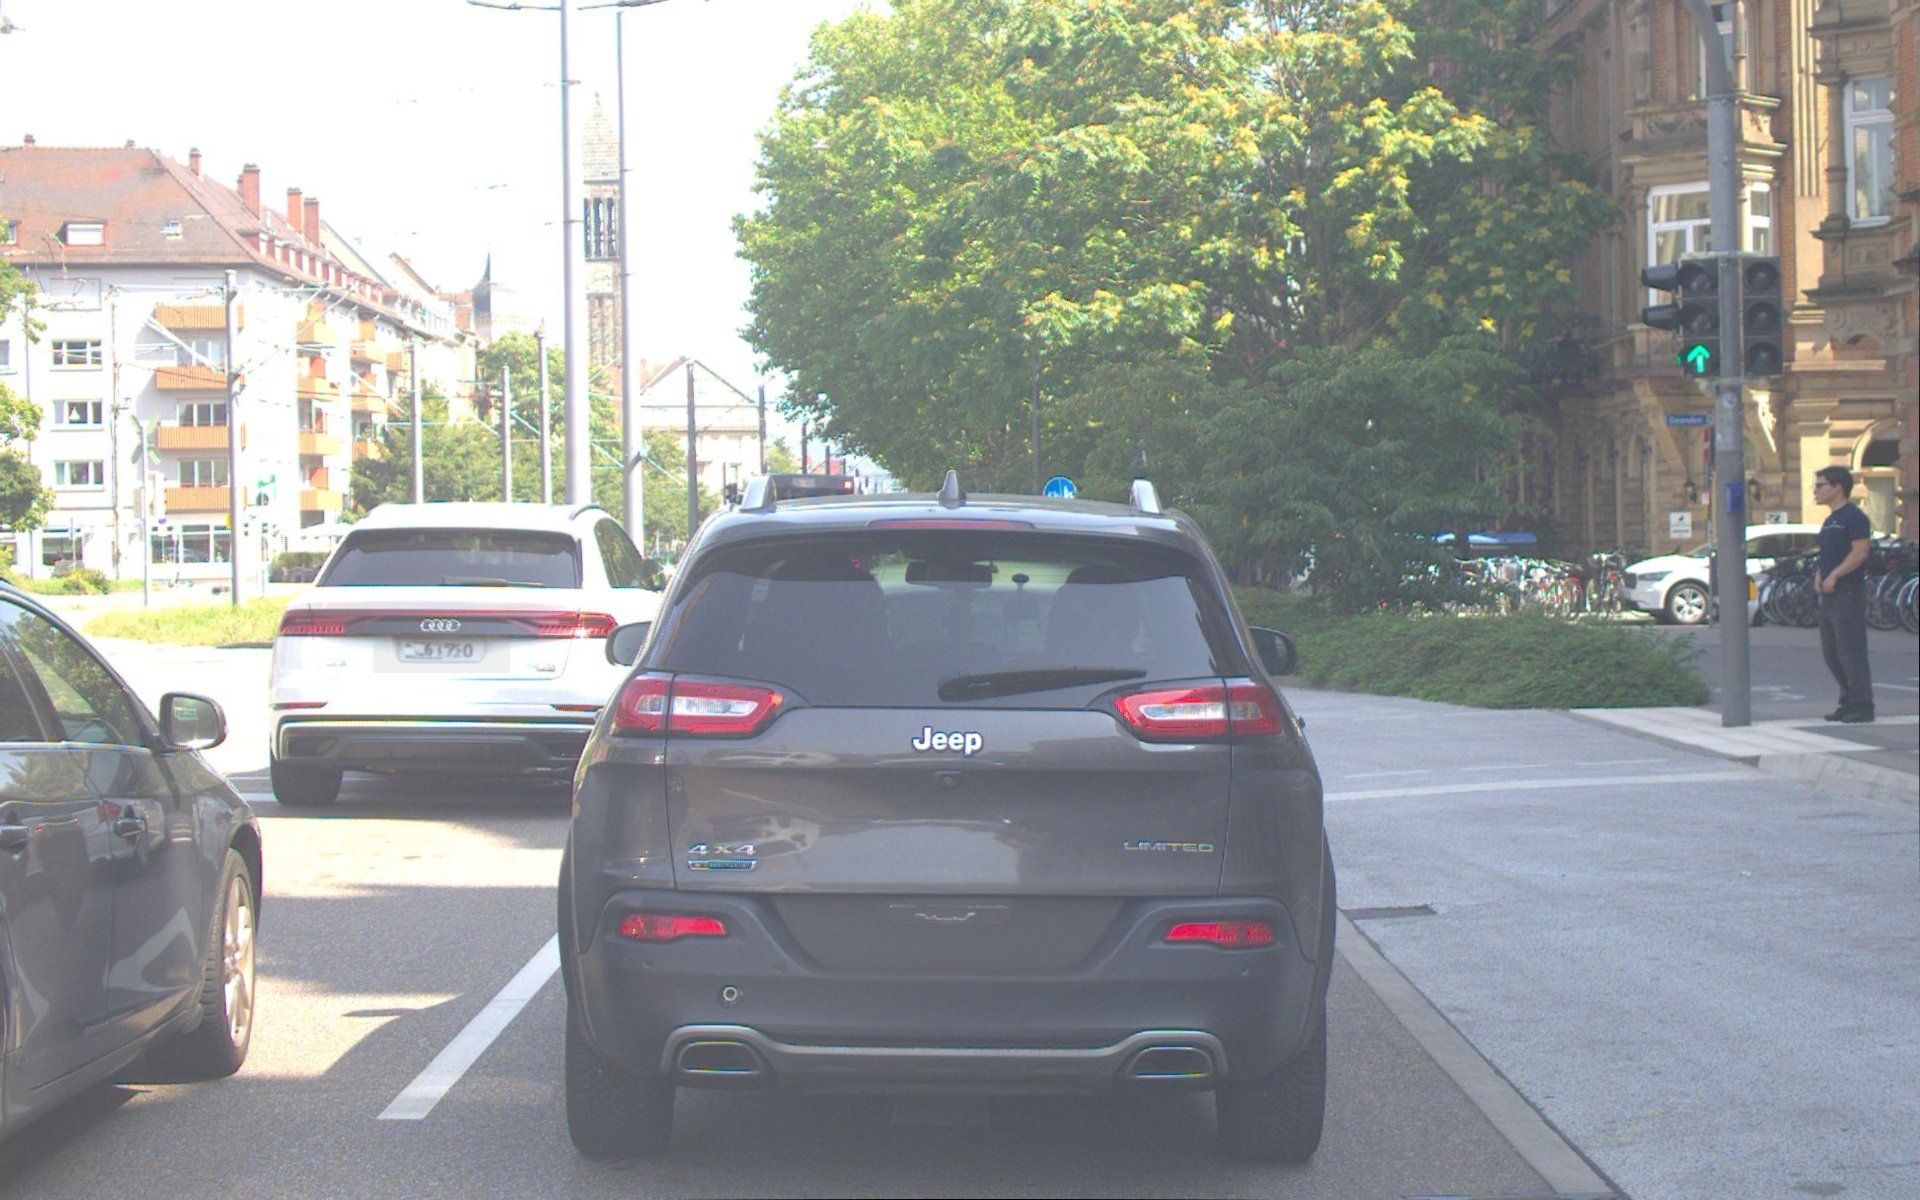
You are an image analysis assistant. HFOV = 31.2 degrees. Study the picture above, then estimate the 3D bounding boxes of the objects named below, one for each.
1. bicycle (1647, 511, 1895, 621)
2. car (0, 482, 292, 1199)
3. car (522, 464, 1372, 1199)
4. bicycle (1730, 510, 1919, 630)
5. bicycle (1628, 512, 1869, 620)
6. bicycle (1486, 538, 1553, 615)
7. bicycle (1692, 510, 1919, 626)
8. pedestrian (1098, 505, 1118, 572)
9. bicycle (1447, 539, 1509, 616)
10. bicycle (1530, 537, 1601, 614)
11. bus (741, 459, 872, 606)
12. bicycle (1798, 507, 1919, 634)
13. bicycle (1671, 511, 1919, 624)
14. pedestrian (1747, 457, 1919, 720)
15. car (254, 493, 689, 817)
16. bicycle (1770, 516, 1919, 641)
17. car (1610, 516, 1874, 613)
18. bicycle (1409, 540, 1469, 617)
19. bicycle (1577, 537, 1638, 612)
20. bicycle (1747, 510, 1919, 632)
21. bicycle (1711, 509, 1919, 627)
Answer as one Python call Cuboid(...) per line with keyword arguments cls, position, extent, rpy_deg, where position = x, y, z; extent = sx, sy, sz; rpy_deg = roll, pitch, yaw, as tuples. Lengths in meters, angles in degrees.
Cuboid(cls="bicycle", position=(10.627, -0.456, 45.138), extent=(3.003, 1.368, 0.947), rpy_deg=(-1, 1, -1))
Cuboid(cls="car", position=(-2.817, 0.542, 7.918), extent=(1.747, 1.609, 4.309), rpy_deg=(0, 1, 0))
Cuboid(cls="car", position=(-0.009, 0.489, 9.611), extent=(1.832, 1.646, 4.308), rpy_deg=(0, 1, 1))
Cuboid(cls="bicycle", position=(10.740, -0.370, 40.772), extent=(2.993, 1.366, 0.871), rpy_deg=(-1, 1, -1))
Cuboid(cls="bicycle", position=(10.576, -0.460, 46.180), extent=(3.003, 1.368, 0.947), rpy_deg=(-1, 1, -1))
Cuboid(cls="bicycle", position=(9.496, -0.414, 58.456), extent=(0.732, 1.249, 3.014), rpy_deg=(-1, 1, 2))
Cuboid(cls="bicycle", position=(10.730, -0.407, 42.811), extent=(3.003, 1.368, 0.947), rpy_deg=(-1, 1, -1))
Cuboid(cls="pedestrian", position=(4.514, -1.876, 104.875), extent=(0.528, 2.007, 0.532), rpy_deg=(-1, 1, -2))
Cuboid(cls="bicycle", position=(8.796, -0.403, 58.458), extent=(0.649, 1.249, 3.014), rpy_deg=(-1, 1, 2))
Cuboid(cls="bicycle", position=(10.285, -0.430, 58.471), extent=(0.763, 1.249, 3.014), rpy_deg=(-1, 1, 2))
Cuboid(cls="bus", position=(-3.450, -1.539, 79.844), extent=(2.743, 3.096, 11.957), rpy_deg=(1, 1, -1))
Cuboid(cls="bicycle", position=(10.880, -0.348, 38.006), extent=(2.993, 1.366, 0.871), rpy_deg=(-1, 1, -1))
Cuboid(cls="bicycle", position=(10.680, -0.424, 43.821), extent=(3.003, 1.368, 0.947), rpy_deg=(-1, 1, -1))
Cuboid(cls="pedestrian", position=(5.993, -0.080, 23.407), extent=(0.766, 1.735, 0.901), rpy_deg=(-3, 1, -33))
Cuboid(cls="car", position=(-2.652, 0.229, 19.617), extent=(1.902, 1.646, 4.309), rpy_deg=(0, 1, 0))
Cuboid(cls="bicycle", position=(10.778, -0.267, 38.913), extent=(2.993, 1.366, 0.871), rpy_deg=(-1, 1, -1))
Cuboid(cls="car", position=(13.051, -0.610, 57.485), extent=(3.931, 1.515, 1.683), rpy_deg=(-1, 1, -7))
Cuboid(cls="bicycle", position=(8.135, -0.387, 58.483), extent=(0.649, 1.249, 3.014), rpy_deg=(-1, 1, 2))
Cuboid(cls="bicycle", position=(11.085, -0.454, 58.904), extent=(0.658, 1.245, 2.412), rpy_deg=(-1, 1, 2))
Cuboid(cls="bicycle", position=(10.727, -0.352, 39.825), extent=(2.993, 1.366, 0.871), rpy_deg=(-1, 1, -1))
Cuboid(cls="bicycle", position=(10.730, -0.395, 41.716), extent=(3.003, 1.368, 0.947), rpy_deg=(-1, 1, -1))
